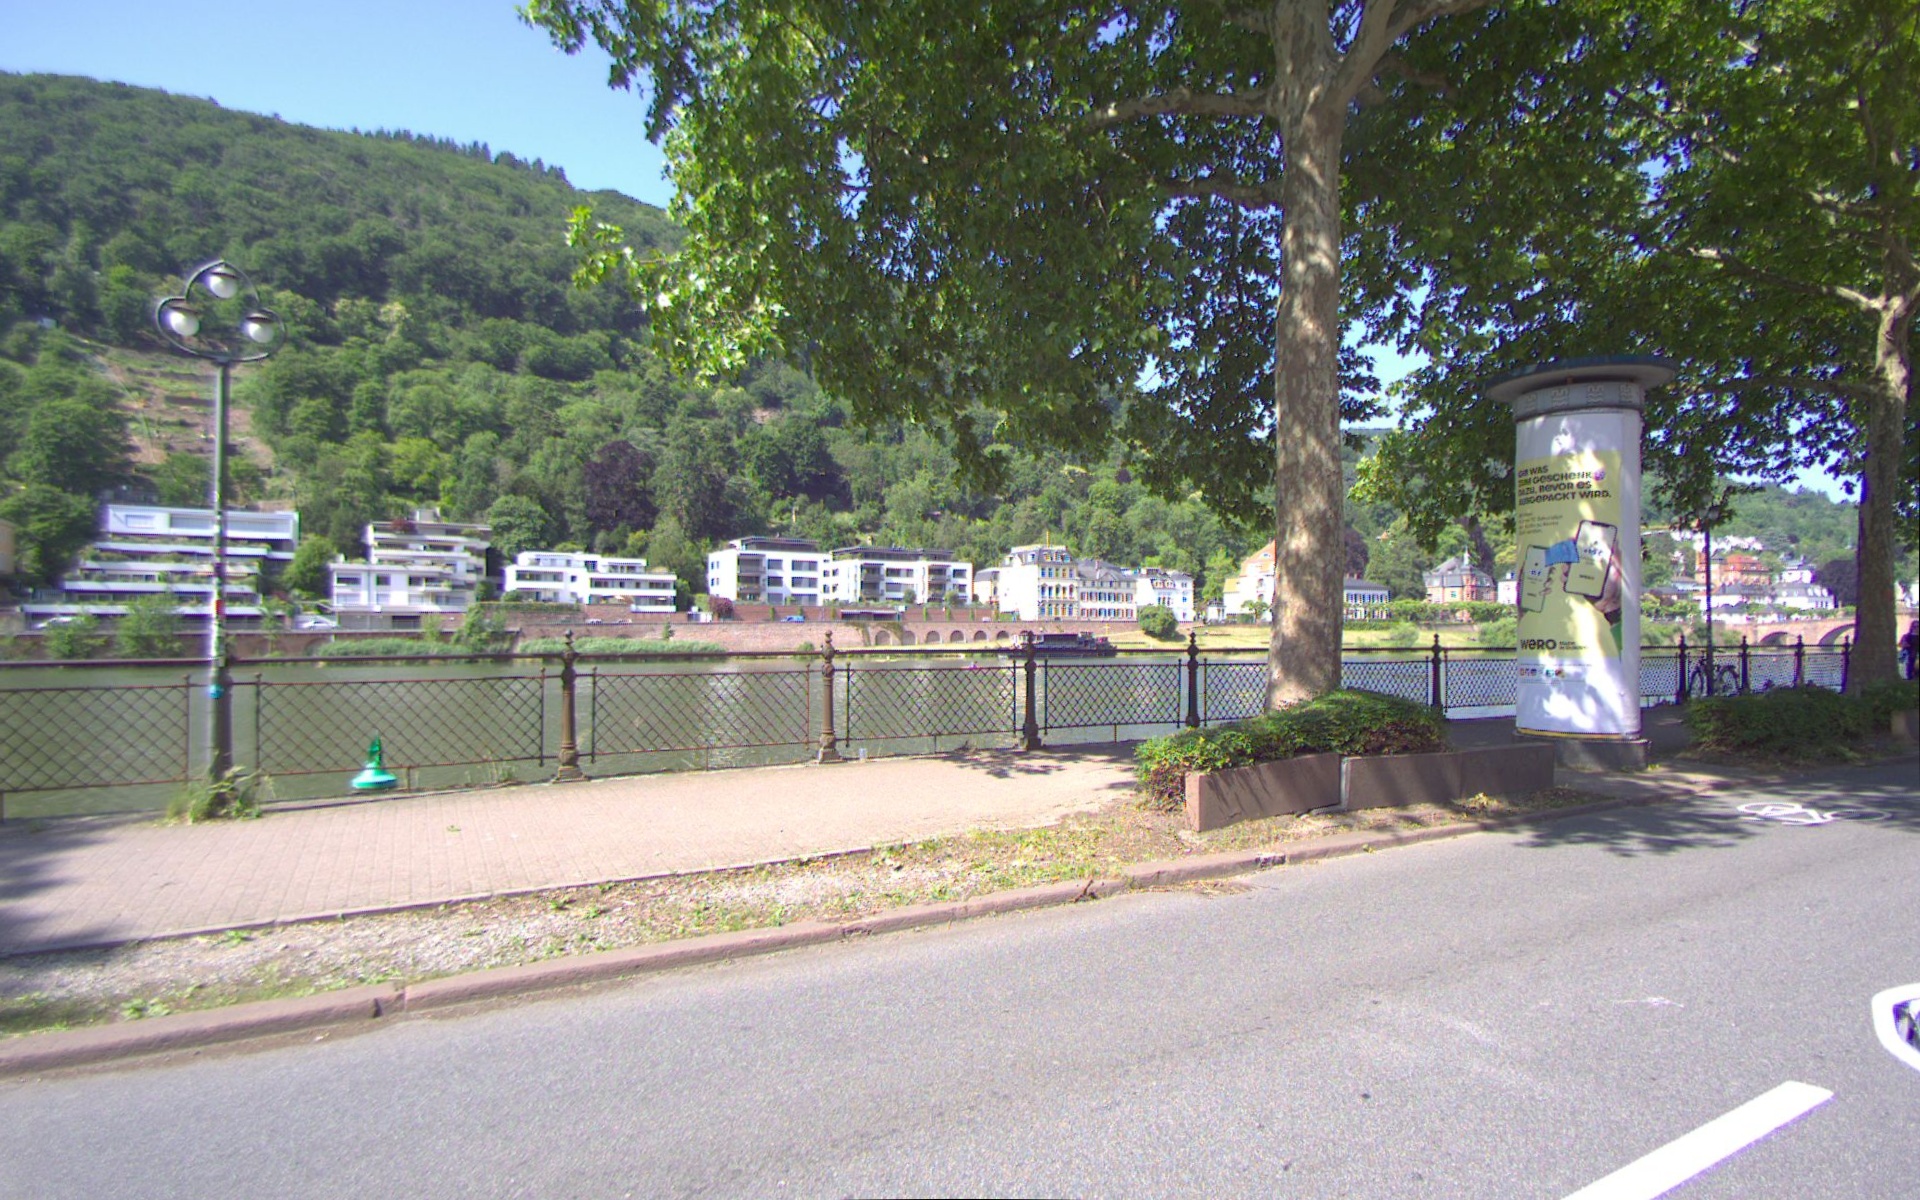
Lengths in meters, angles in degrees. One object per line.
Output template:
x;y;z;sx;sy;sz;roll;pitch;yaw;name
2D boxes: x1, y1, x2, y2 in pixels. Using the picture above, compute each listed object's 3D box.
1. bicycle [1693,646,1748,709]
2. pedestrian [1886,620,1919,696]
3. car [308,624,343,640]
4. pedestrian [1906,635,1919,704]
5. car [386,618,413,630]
14.360;1.447;18.958;1.281;1.106;0.357;1;2;-31;bicycle
21.634;1.304;22.911;0.577;1.708;0.598;1;-2;-31;pedestrian
-88.879;4.495;140.708;3.953;2.040;1.984;2;0;-30;car
19.402;1.390;20.178;0.411;1.381;0.477;1;0;-26;pedestrian
-95.027;4.077;170.324;3.953;2.041;1.984;0;1;-30;car
